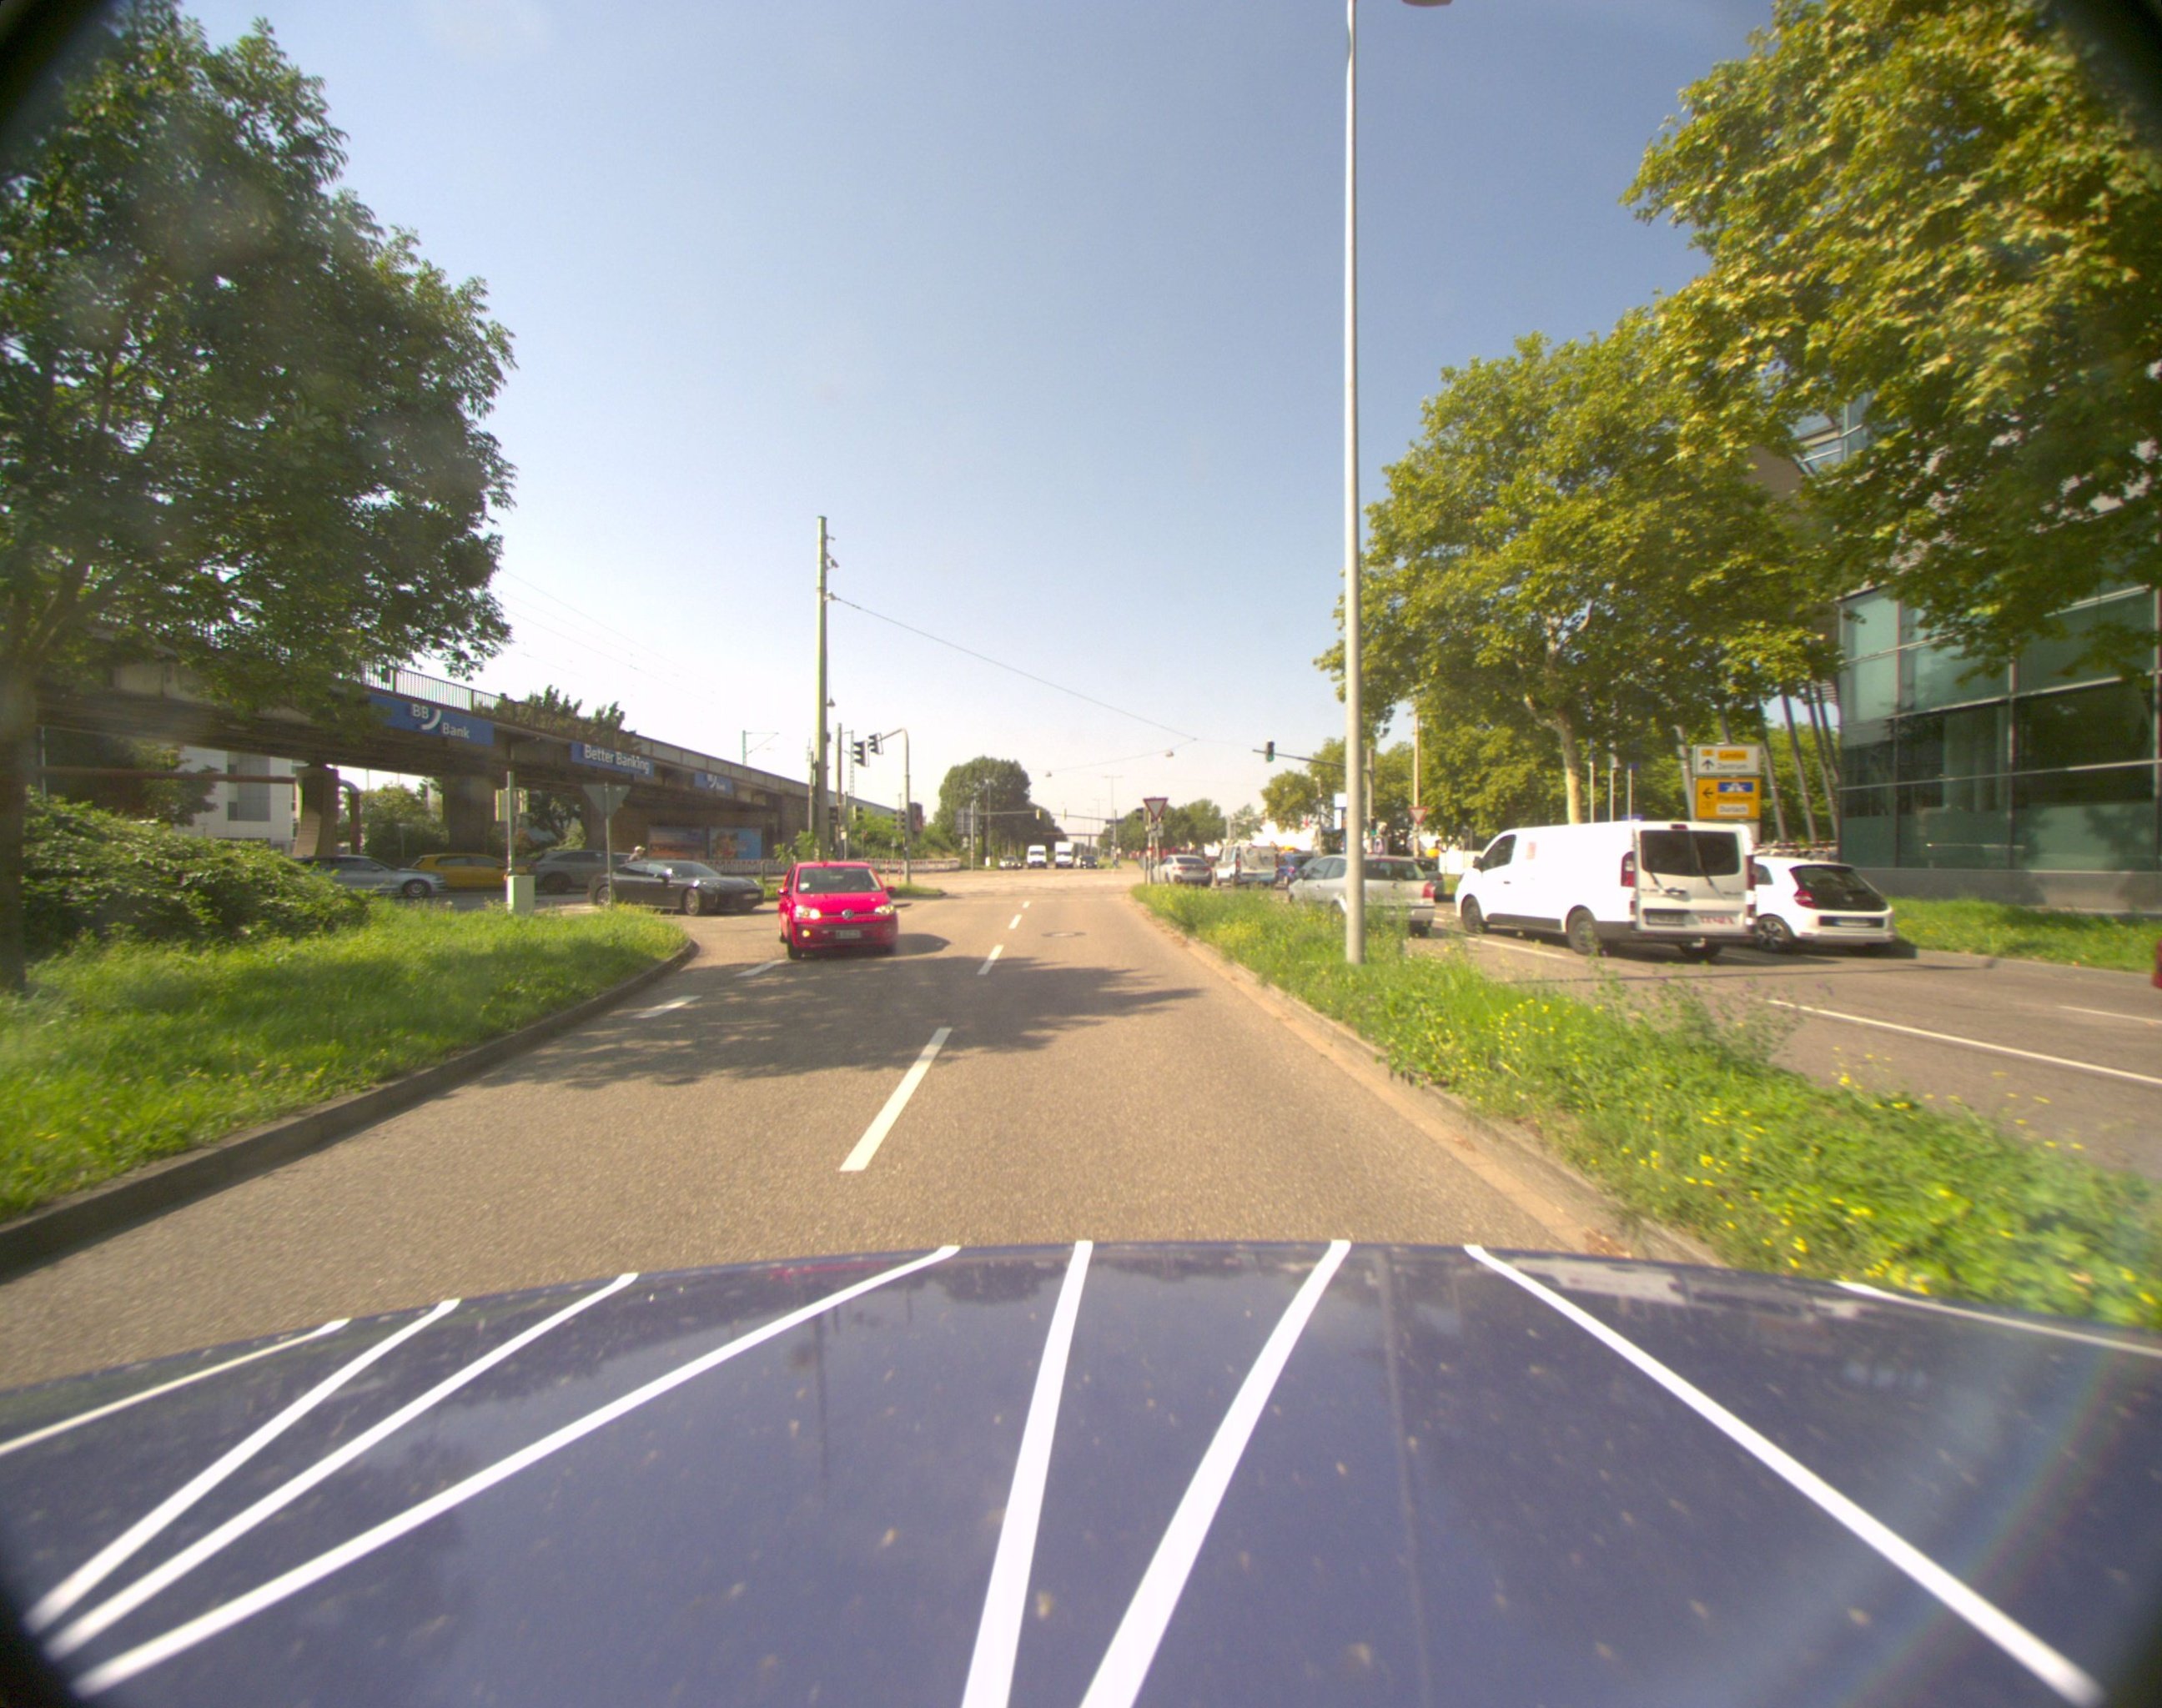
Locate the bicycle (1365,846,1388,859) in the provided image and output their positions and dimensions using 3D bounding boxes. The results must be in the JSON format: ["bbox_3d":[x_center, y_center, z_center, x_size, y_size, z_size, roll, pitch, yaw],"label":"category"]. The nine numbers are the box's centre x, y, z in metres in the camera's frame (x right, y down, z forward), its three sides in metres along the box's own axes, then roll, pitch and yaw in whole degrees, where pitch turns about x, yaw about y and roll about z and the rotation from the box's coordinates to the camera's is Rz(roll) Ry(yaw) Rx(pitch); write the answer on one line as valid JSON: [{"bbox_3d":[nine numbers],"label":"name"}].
[{"bbox_3d":[26.836,-0.151,69.069,0.773,1.080,2.218,-1,-2,-13],"label":"bicycle"}]

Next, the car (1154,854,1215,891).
[{"bbox_3d":[4.413,0.747,33.097,1.840,1.434,4.604,2,0,-2],"label":"car"}]

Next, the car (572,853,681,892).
[{"bbox_3d":[-19.260,0.724,32.267,3.703,1.529,1.722,0,1,-40],"label":"car"}]

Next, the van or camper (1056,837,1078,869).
[{"bbox_3d":[-1.526,-0.053,88.002,2.248,3.341,6.853,-2,-2,1],"label":"van or camper"}]

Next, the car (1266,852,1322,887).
[{"bbox_3d":[10.518,0.726,37.695,1.672,1.526,3.729,1,2,0],"label":"car"}]

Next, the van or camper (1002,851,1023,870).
[{"bbox_3d":[-7.243,0.711,80.572,1.850,1.765,4.175,-2,-2,-1],"label":"van or camper"}]

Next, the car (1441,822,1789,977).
[{"bbox_3d":[8.121,0.584,12.400,1.932,1.949,5.189,2,0,-1],"label":"car"}]

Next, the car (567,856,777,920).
[{"bbox_3d":[-10.963,0.847,20.467,4.877,1.455,2.002,1,2,14],"label":"car"}]

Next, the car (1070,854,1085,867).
[{"bbox_3d":[-0.456,0.885,103.395,1.655,1.654,3.757,-2,-2,3],"label":"car"}]

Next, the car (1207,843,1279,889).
[{"bbox_3d":[7.243,0.532,34.469,1.932,1.946,5.212,0,0,-3],"label":"car"}]

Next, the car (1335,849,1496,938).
[{"bbox_3d":[7.896,0.825,18.501,1.722,1.838,4.702,2,1,-1],"label":"car"}]

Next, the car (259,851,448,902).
[{"bbox_3d":[-23.671,0.692,24.983,4.357,1.512,1.994,1,1,-40],"label":"car"}]

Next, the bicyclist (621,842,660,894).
[{"bbox_3d":[-14.479,0.457,24.977,0.972,1.648,0.710,0,0,-42],"label":"bicyclist"}]

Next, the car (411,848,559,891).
[{"bbox_3d":[-22.898,0.638,29.303,4.357,1.563,1.995,2,-2,-40],"label":"car"}]

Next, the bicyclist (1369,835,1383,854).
[{"bbox_3d":[26.834,-0.865,69.092,0.598,1.584,1.204,-1,-2,-13],"label":"bicyclist"}]

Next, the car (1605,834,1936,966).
[{"bbox_3d":[11.474,0.660,13.113,1.932,1.885,3.974,2,1,-3],"label":"car"}]

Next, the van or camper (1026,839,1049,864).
[{"bbox_3d":[-4.718,-0.215,83.667,2.248,2.467,6.867,-2,-2,-1],"label":"van or camper"}]

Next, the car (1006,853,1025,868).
[{"bbox_3d":[-7.453,0.723,87.077,1.999,1.543,3.999,-2,0,-3],"label":"car"}]

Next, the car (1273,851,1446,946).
[{"bbox_3d":[5.120,0.756,14.582,1.618,1.526,4.100,2,-1,-2],"label":"car"}]

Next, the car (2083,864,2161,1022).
[{"bbox_3d":[11.304,0.913,5.227,1.784,1.502,5.211,2,1,-2],"label":"car"}]

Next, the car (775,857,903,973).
[{"bbox_3d":[-4.192,0.889,12.836,1.645,1.459,3.545,-3,3,-23],"label":"car"}]

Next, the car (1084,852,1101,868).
[{"bbox_3d":[1.356,0.753,88.808,1.905,1.603,5.198,-2,-2,1],"label":"car"}]

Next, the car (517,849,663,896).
[{"bbox_3d":[-18.460,0.633,28.733,4.482,1.608,1.902,-1,2,-34],"label":"car"}]
